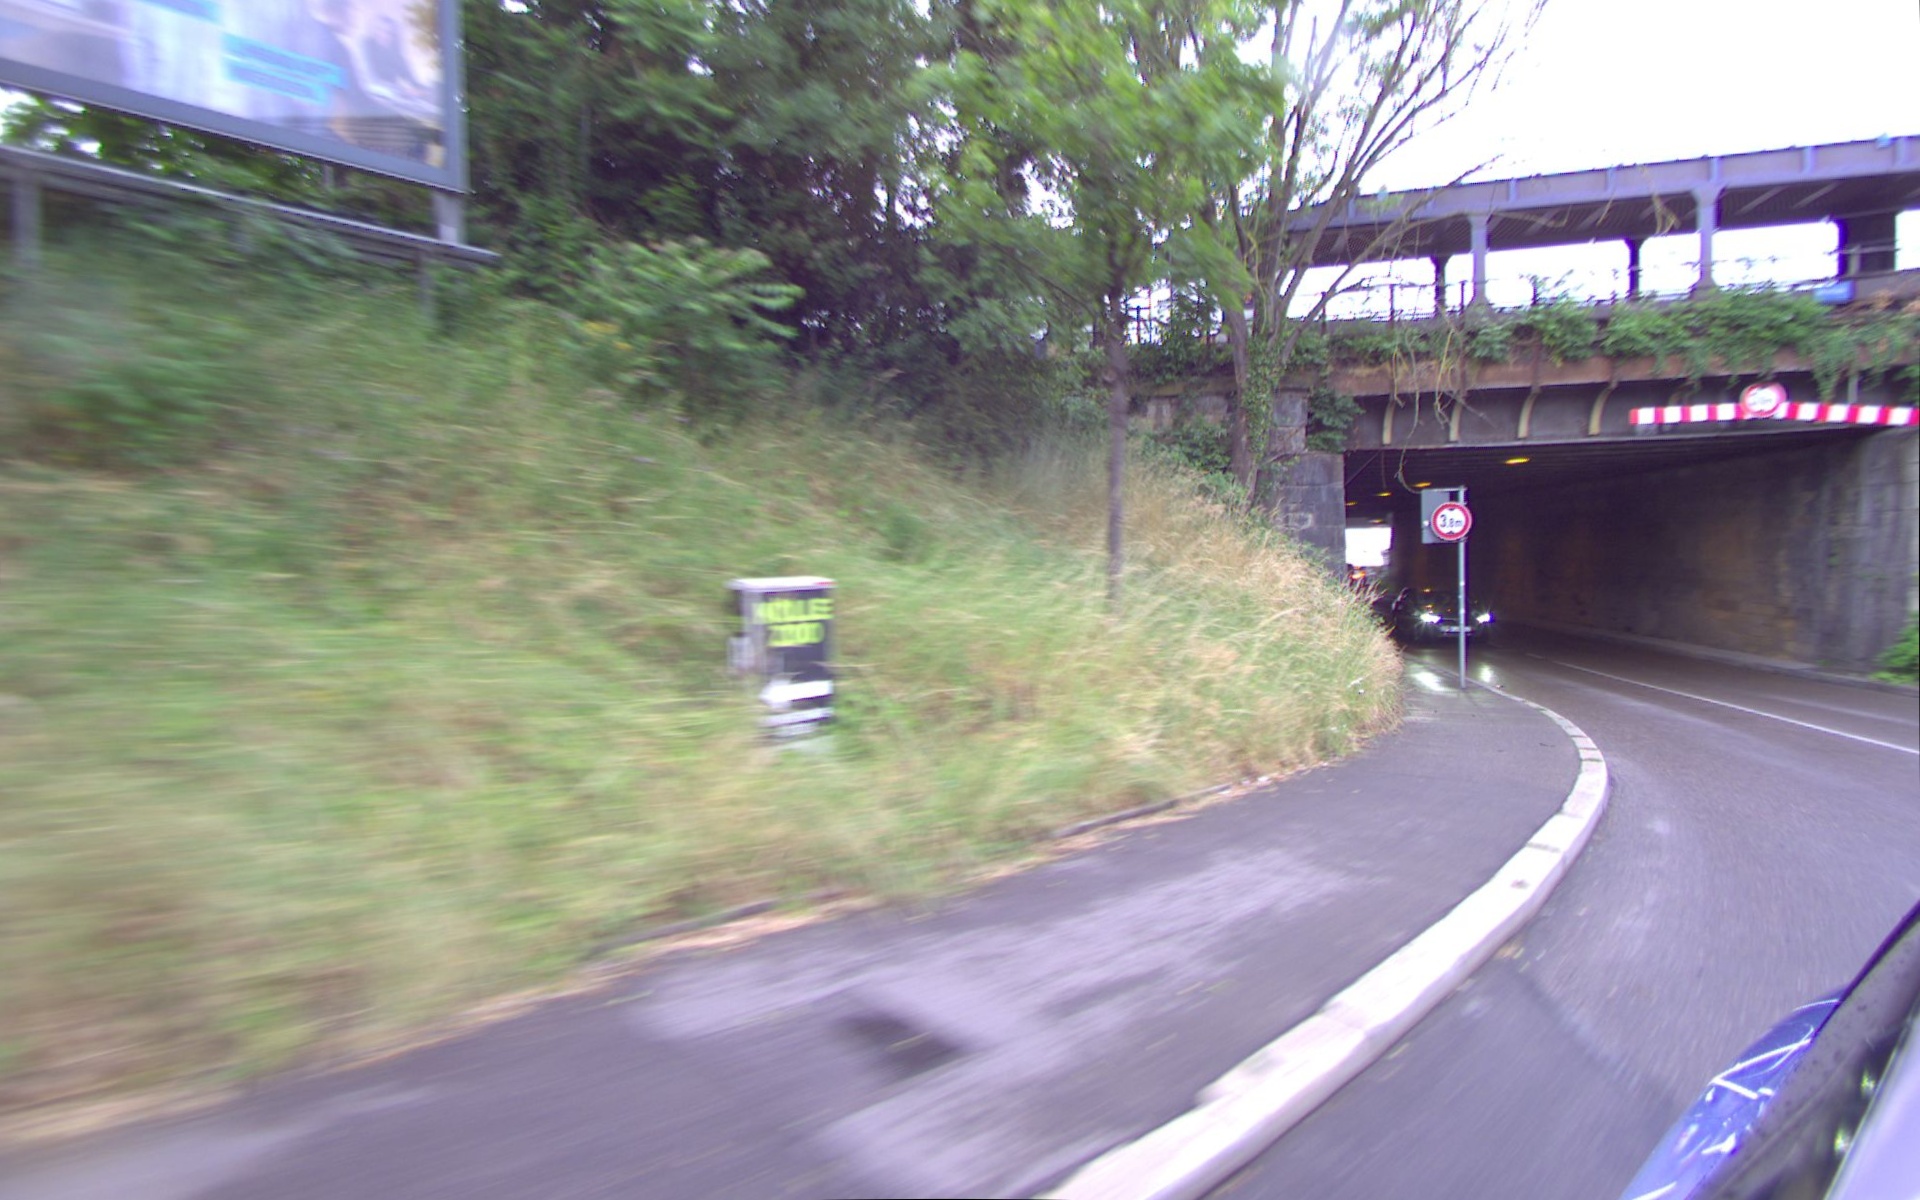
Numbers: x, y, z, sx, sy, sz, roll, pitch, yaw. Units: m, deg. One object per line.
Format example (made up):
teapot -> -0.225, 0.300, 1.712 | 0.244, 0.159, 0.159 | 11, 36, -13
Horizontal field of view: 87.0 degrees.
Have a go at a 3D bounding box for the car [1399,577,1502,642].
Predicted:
car -> 13.243, 0.208, 27.549 | 1.786, 1.536, 4.035 | 0, 2, 15

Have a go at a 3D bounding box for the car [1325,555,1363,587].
car -> 23.462, -1.802, 61.913 | 1.888, 1.823, 3.981 | -1, 3, 17

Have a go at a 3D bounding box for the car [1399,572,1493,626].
car -> 15.702, -0.095, 32.895 | 1.784, 1.536, 4.040 | 0, 3, 12

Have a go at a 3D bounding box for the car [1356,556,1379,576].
car -> 29.741, -2.492, 73.899 | 1.261, 1.331, 3.304 | -1, 3, 17
